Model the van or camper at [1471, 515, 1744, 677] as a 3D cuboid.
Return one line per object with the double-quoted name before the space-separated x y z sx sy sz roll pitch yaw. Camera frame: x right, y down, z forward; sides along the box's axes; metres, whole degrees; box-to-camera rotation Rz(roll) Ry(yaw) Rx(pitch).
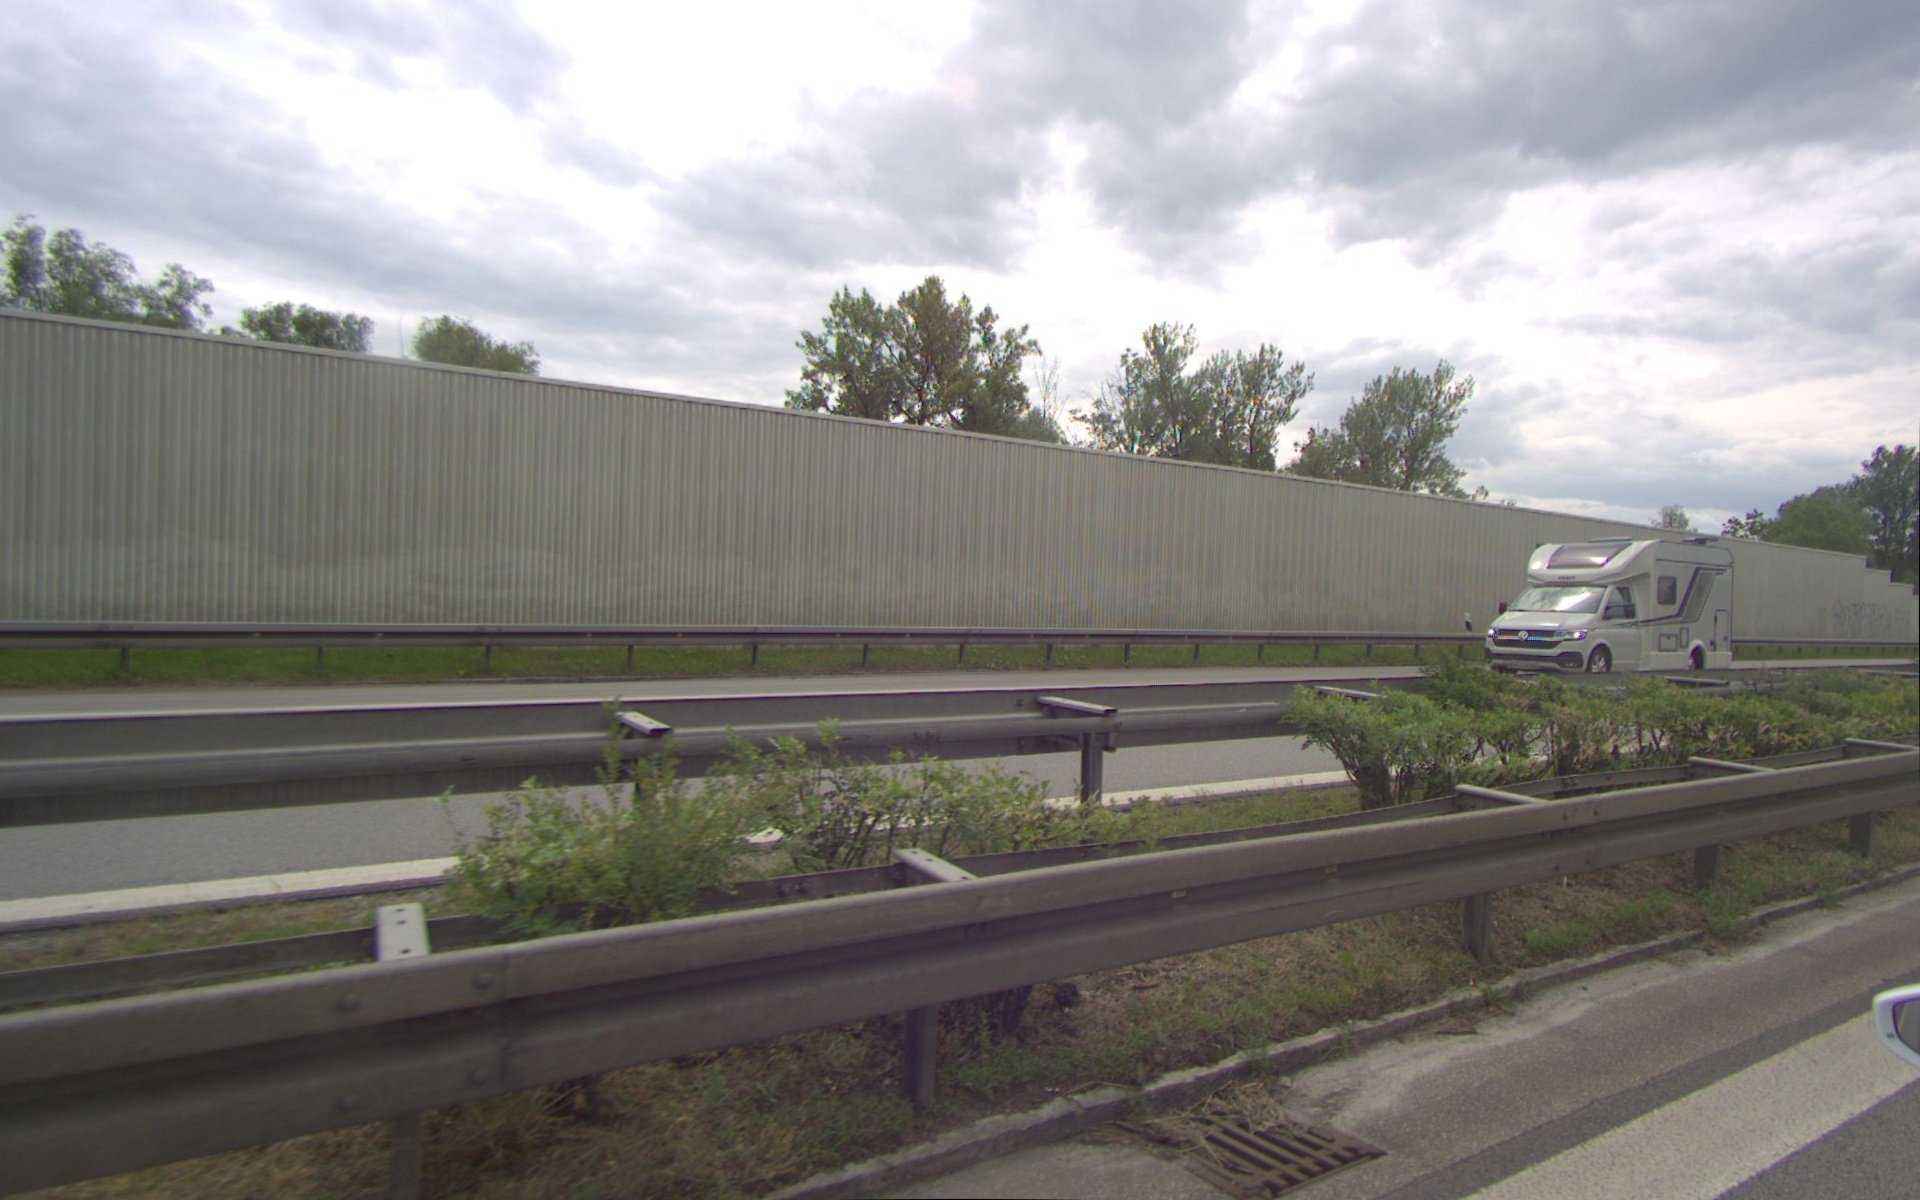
"van or camper" 12.850 -0.023 19.824 5.689 2.816 2.243 1 0 -31
